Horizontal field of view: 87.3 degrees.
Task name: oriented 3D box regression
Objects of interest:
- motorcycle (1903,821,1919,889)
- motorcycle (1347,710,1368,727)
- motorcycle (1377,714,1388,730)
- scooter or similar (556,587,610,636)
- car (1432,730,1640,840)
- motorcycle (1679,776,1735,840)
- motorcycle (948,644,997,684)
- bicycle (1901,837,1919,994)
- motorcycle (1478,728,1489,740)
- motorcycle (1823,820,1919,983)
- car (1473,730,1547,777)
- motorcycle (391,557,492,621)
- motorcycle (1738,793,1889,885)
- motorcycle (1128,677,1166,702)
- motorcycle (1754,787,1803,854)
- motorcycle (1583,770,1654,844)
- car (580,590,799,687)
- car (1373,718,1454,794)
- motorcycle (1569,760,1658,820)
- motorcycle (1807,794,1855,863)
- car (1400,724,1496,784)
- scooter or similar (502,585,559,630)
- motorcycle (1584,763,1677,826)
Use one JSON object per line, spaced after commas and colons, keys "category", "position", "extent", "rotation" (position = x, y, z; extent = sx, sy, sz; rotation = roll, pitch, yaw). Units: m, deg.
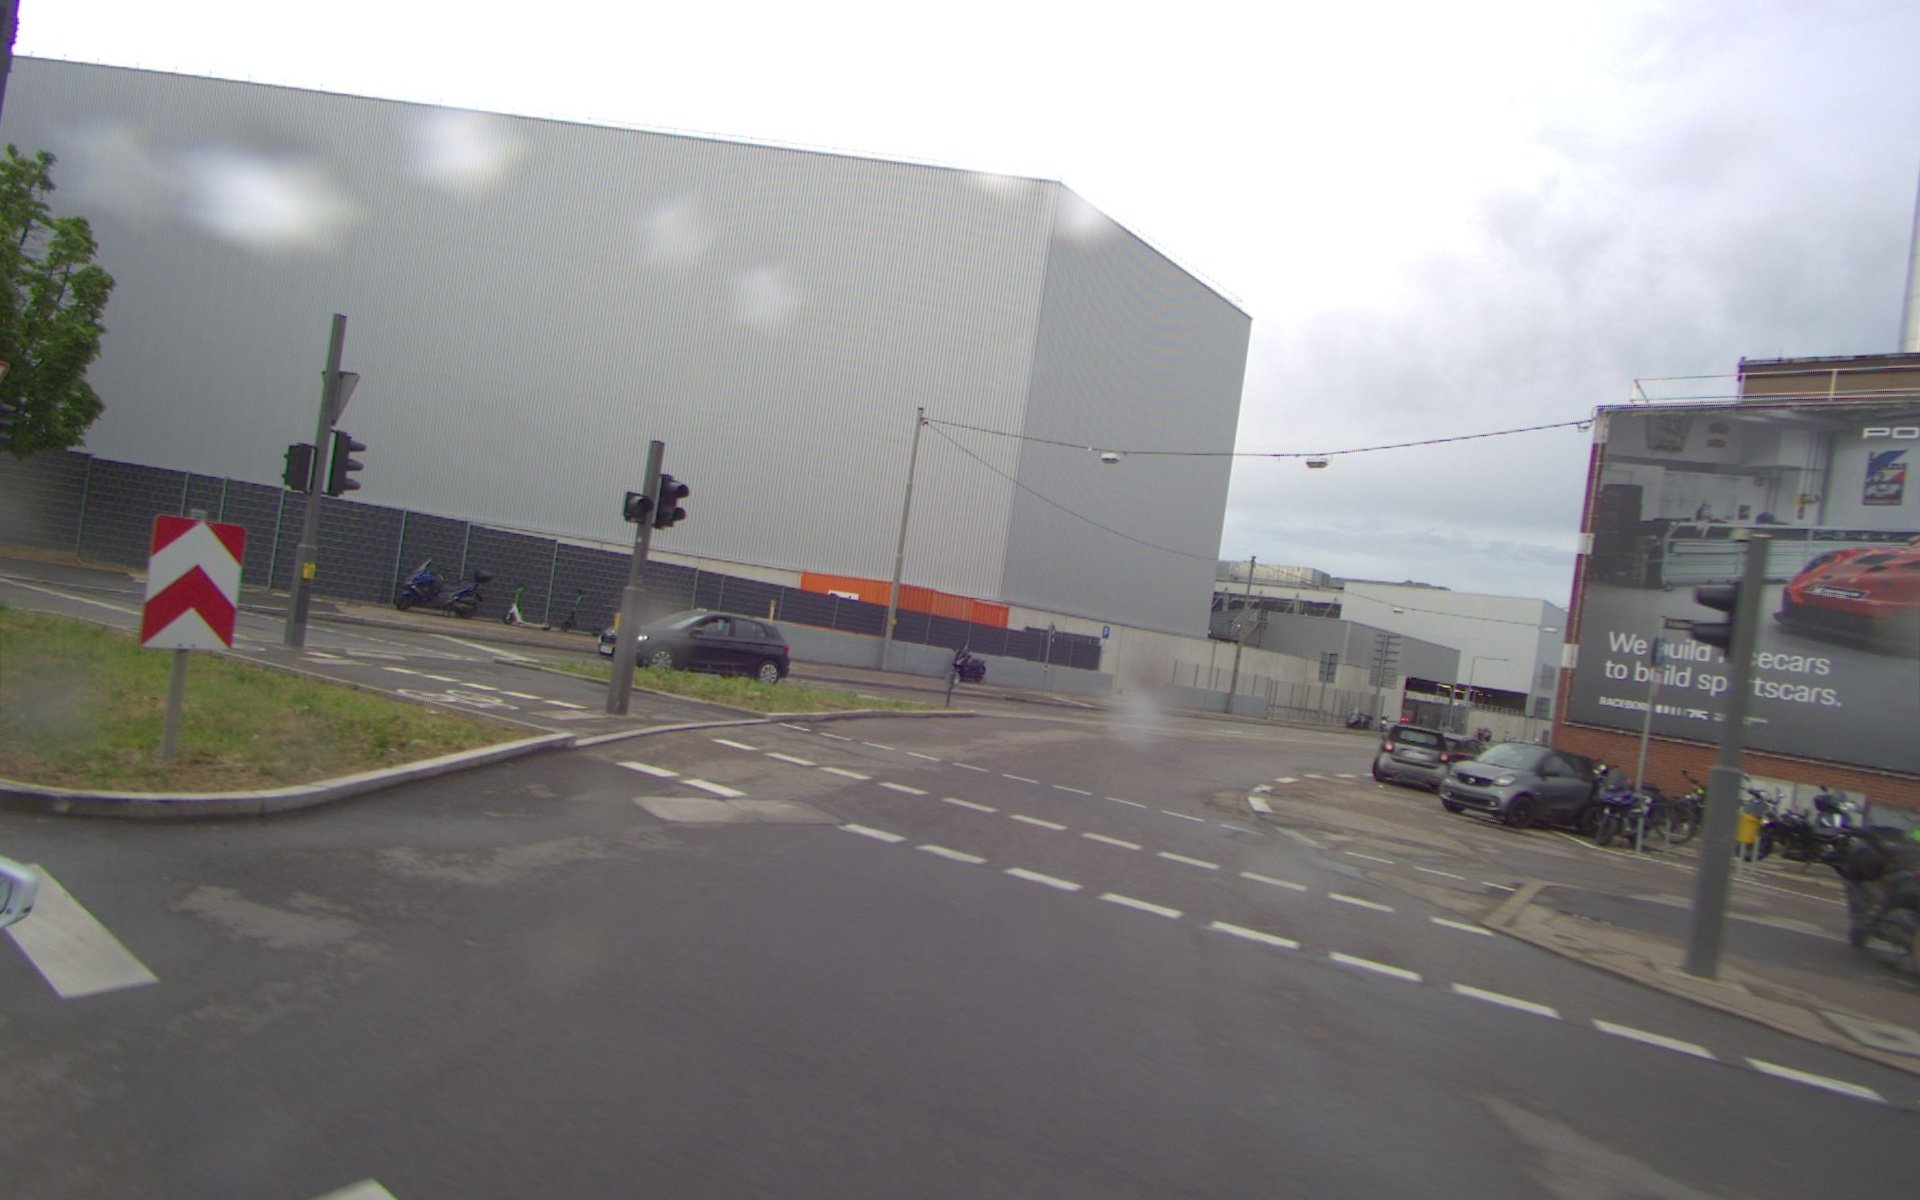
{"category": "motorcycle", "position": [17.885, 4.717, 18.609], "extent": [1.799, 1.132, 0.471], "rotation": [9, -4, -43]}
{"category": "motorcycle", "position": [29.463, 8.810, 74.577], "extent": [1.917, 1.087, 0.558], "rotation": [10, -2, -44]}
{"category": "motorcycle", "position": [33.347, 9.626, 79.389], "extent": [0.555, 1.145, 1.928], "rotation": [8, -2, 25]}
{"category": "scooter or similar", "position": [-10.914, 0.346, 29.131], "extent": [1.259, 1.213, 0.421], "rotation": [10, -2, -34]}
{"category": "car", "position": [10.974, 3.514, 19.207], "extent": [3.202, 1.520, 1.619], "rotation": [9, -2, -19]}
{"category": "motorcycle", "position": [15.943, 4.411, 21.449], "extent": [0.667, 1.193, 1.639], "rotation": [4, -4, 45]}
{"category": "motorcycle", "position": [0.529, 2.662, 41.776], "extent": [0.646, 1.392, 2.093], "rotation": [7, -3, 42]}
{"category": "bicycle", "position": [7.932, 2.415, 6.905], "extent": [0.418, 1.142, 2.054], "rotation": [8, -3, -37]}
{"category": "motorcycle", "position": [53.004, 13.541, 101.866], "extent": [0.557, 1.087, 1.923], "rotation": [7, -2, 36]}
{"category": "motorcycle", "position": [8.701, 2.759, 9.331], "extent": [0.480, 1.158, 2.095], "rotation": [5, -4, 26]}
{"category": "car", "position": [20.324, 5.683, 37.149], "extent": [1.441, 1.459, 3.448], "rotation": [4, -4, 44]}
{"category": "motorcycle", "position": [-13.385, -0.263, 26.038], "extent": [0.646, 1.325, 2.093], "rotation": [7, -3, 42]}
{"category": "motorcycle", "position": [14.270, 3.970, 16.867], "extent": [1.840, 1.123, 0.542], "rotation": [4, -3, 42]}
{"category": "motorcycle", "position": [10.446, 5.024, 56.329], "extent": [1.898, 1.087, 0.625], "rotation": [7, -1, 37]}
{"category": "motorcycle", "position": [16.646, 4.455, 20.441], "extent": [0.538, 1.193, 1.639], "rotation": [4, -4, 45]}
{"category": "motorcycle", "position": [11.561, 3.617, 17.630], "extent": [1.711, 1.159, 0.490], "rotation": [9, -4, -39]}
{"category": "car", "position": [-5.578, 0.847, 21.048], "extent": [3.980, 1.441, 1.699], "rotation": [11, -3, -44]}
{"category": "car", "position": [11.486, 3.917, 25.613], "extent": [1.525, 1.509, 2.754], "rotation": [9, -2, 22]}
{"category": "motorcycle", "position": [15.460, 4.489, 23.824], "extent": [0.541, 1.123, 1.631], "rotation": [8, -3, -40]}
{"category": "motorcycle", "position": [17.209, 4.484, 19.868], "extent": [0.538, 1.193, 1.704], "rotation": [4, -4, 45]}
{"category": "car", "position": [14.621, 4.596, 30.038], "extent": [1.546, 1.459, 4.092], "rotation": [4, -4, 40]}
{"category": "scooter or similar", "position": [-11.853, 0.221, 27.783], "extent": [1.251, 1.040, 0.384], "rotation": [10, -1, -15]}
{"category": "motorcycle", "position": [15.146, 4.376, 22.753], "extent": [0.541, 1.132, 1.585], "rotation": [8, -3, -40]}
